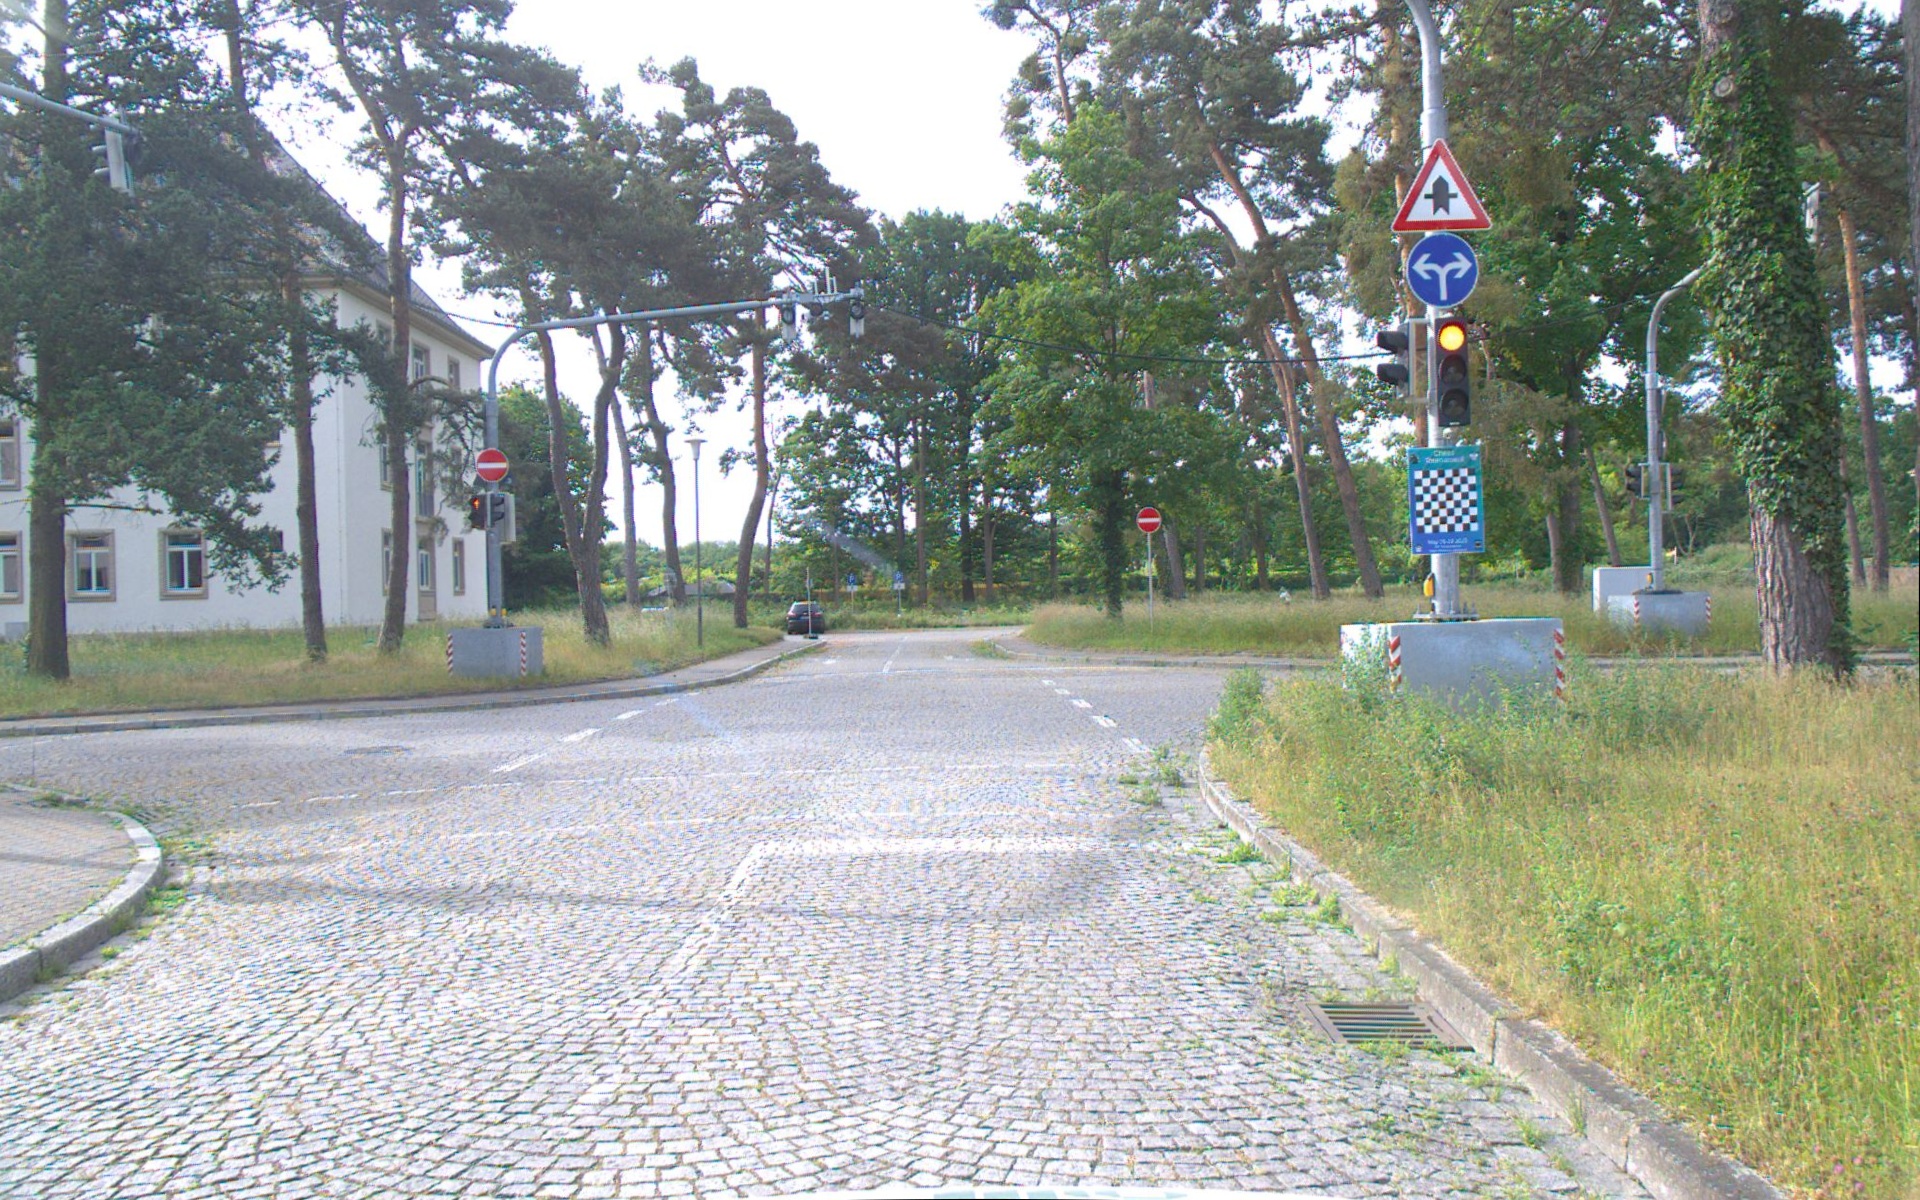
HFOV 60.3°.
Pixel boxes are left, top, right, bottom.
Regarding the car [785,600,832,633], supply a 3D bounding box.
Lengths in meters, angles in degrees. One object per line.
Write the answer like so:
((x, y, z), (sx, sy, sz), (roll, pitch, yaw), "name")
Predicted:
((-7.384, 0.794, 81.031), (1.953, 1.534, 4.000), (0, 0, 0), "car")

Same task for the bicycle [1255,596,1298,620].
((16.071, 0.407, 84.010), (1.948, 1.114, 0.809), (-2, 0, -5), "bicycle")

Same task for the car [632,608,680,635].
((-15.031, 1.049, 81.946), (1.654, 1.176, 4.000), (-2, 0, 0), "car")

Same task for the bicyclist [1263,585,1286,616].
((15.962, 0.048, 84.011), (0.955, 1.537, 0.806), (-2, 0, -5), "bicyclist")
